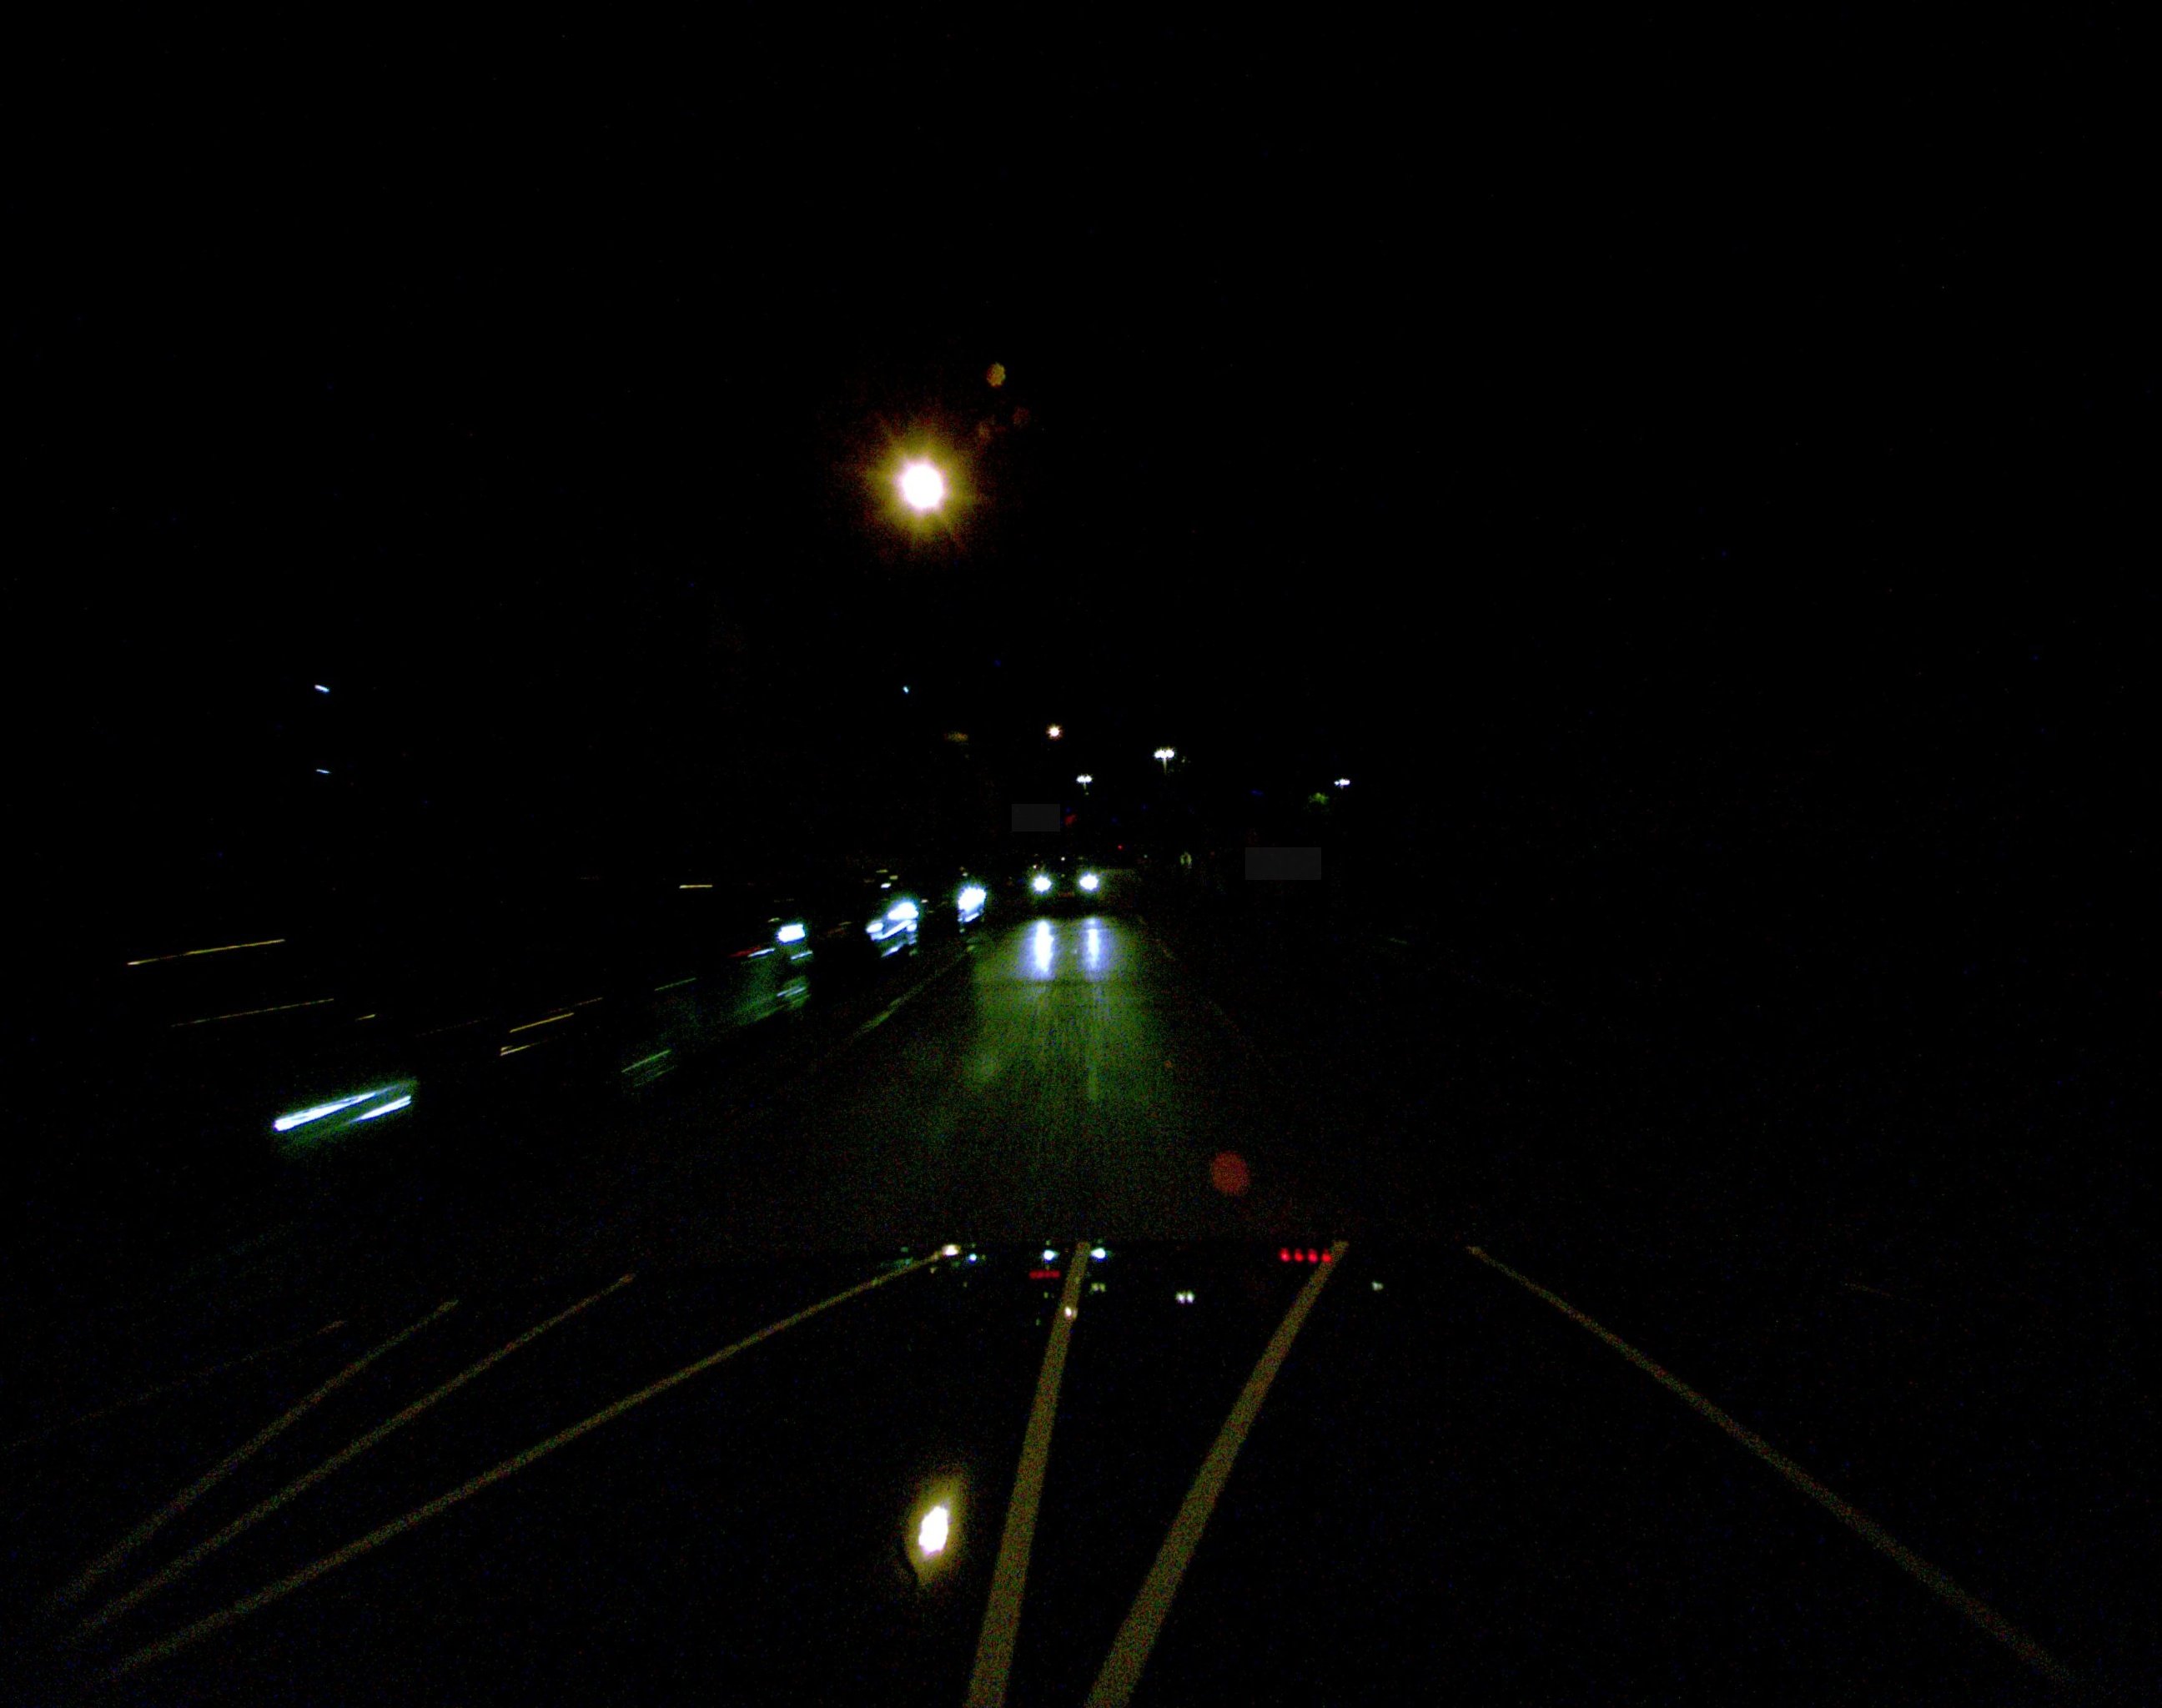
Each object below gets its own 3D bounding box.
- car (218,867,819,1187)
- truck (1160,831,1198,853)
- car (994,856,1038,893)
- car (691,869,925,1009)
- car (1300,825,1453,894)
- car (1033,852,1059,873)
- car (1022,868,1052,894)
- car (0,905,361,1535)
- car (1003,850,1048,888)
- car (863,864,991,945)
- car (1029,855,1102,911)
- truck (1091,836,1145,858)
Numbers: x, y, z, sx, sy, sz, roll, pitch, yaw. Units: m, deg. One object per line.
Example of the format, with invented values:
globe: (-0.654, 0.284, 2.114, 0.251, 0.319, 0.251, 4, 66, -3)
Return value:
car: (-3.460, 0.905, 5.670, 1.599, 1.458, 3.718, -2, 1, 1)
truck: (17.136, -2.134, 132.441, 6.196, 3.673, 2.403, -2, 1, 13)
car: (-3.099, 0.947, 36.835, 1.824, 1.590, 4.219, 1, 1, -1)
car: (-3.484, 1.001, 10.549, 1.783, 1.418, 3.891, -2, 1, 0)
car: (8.665, 0.154, 22.612, 3.993, 1.878, 1.910, -2, 1, 14)
car: (-2.543, 0.603, 56.359, 1.748, 1.500, 4.833, 0, 1, 0)
car: (-2.870, 1.779, 50.681, 1.748, 1.557, 4.210, 0, 1, 0)
car: (-3.468, 0.960, 0.796, 1.599, 1.458, 3.891, -2, 1, 1)
car: (-2.987, 0.781, 42.162, 2.077, 1.917, 5.370, 0, 1, 0)
car: (-3.289, 1.030, 17.144, 1.783, 1.418, 4.480, -2, 1, 2)
car: (-0.405, 0.845, 24.184, 1.998, 1.607, 4.001, -1, 0, 3)
truck: (6.565, -1.289, 134.780, 9.340, 3.701, 2.002, -1, 1, 17)
